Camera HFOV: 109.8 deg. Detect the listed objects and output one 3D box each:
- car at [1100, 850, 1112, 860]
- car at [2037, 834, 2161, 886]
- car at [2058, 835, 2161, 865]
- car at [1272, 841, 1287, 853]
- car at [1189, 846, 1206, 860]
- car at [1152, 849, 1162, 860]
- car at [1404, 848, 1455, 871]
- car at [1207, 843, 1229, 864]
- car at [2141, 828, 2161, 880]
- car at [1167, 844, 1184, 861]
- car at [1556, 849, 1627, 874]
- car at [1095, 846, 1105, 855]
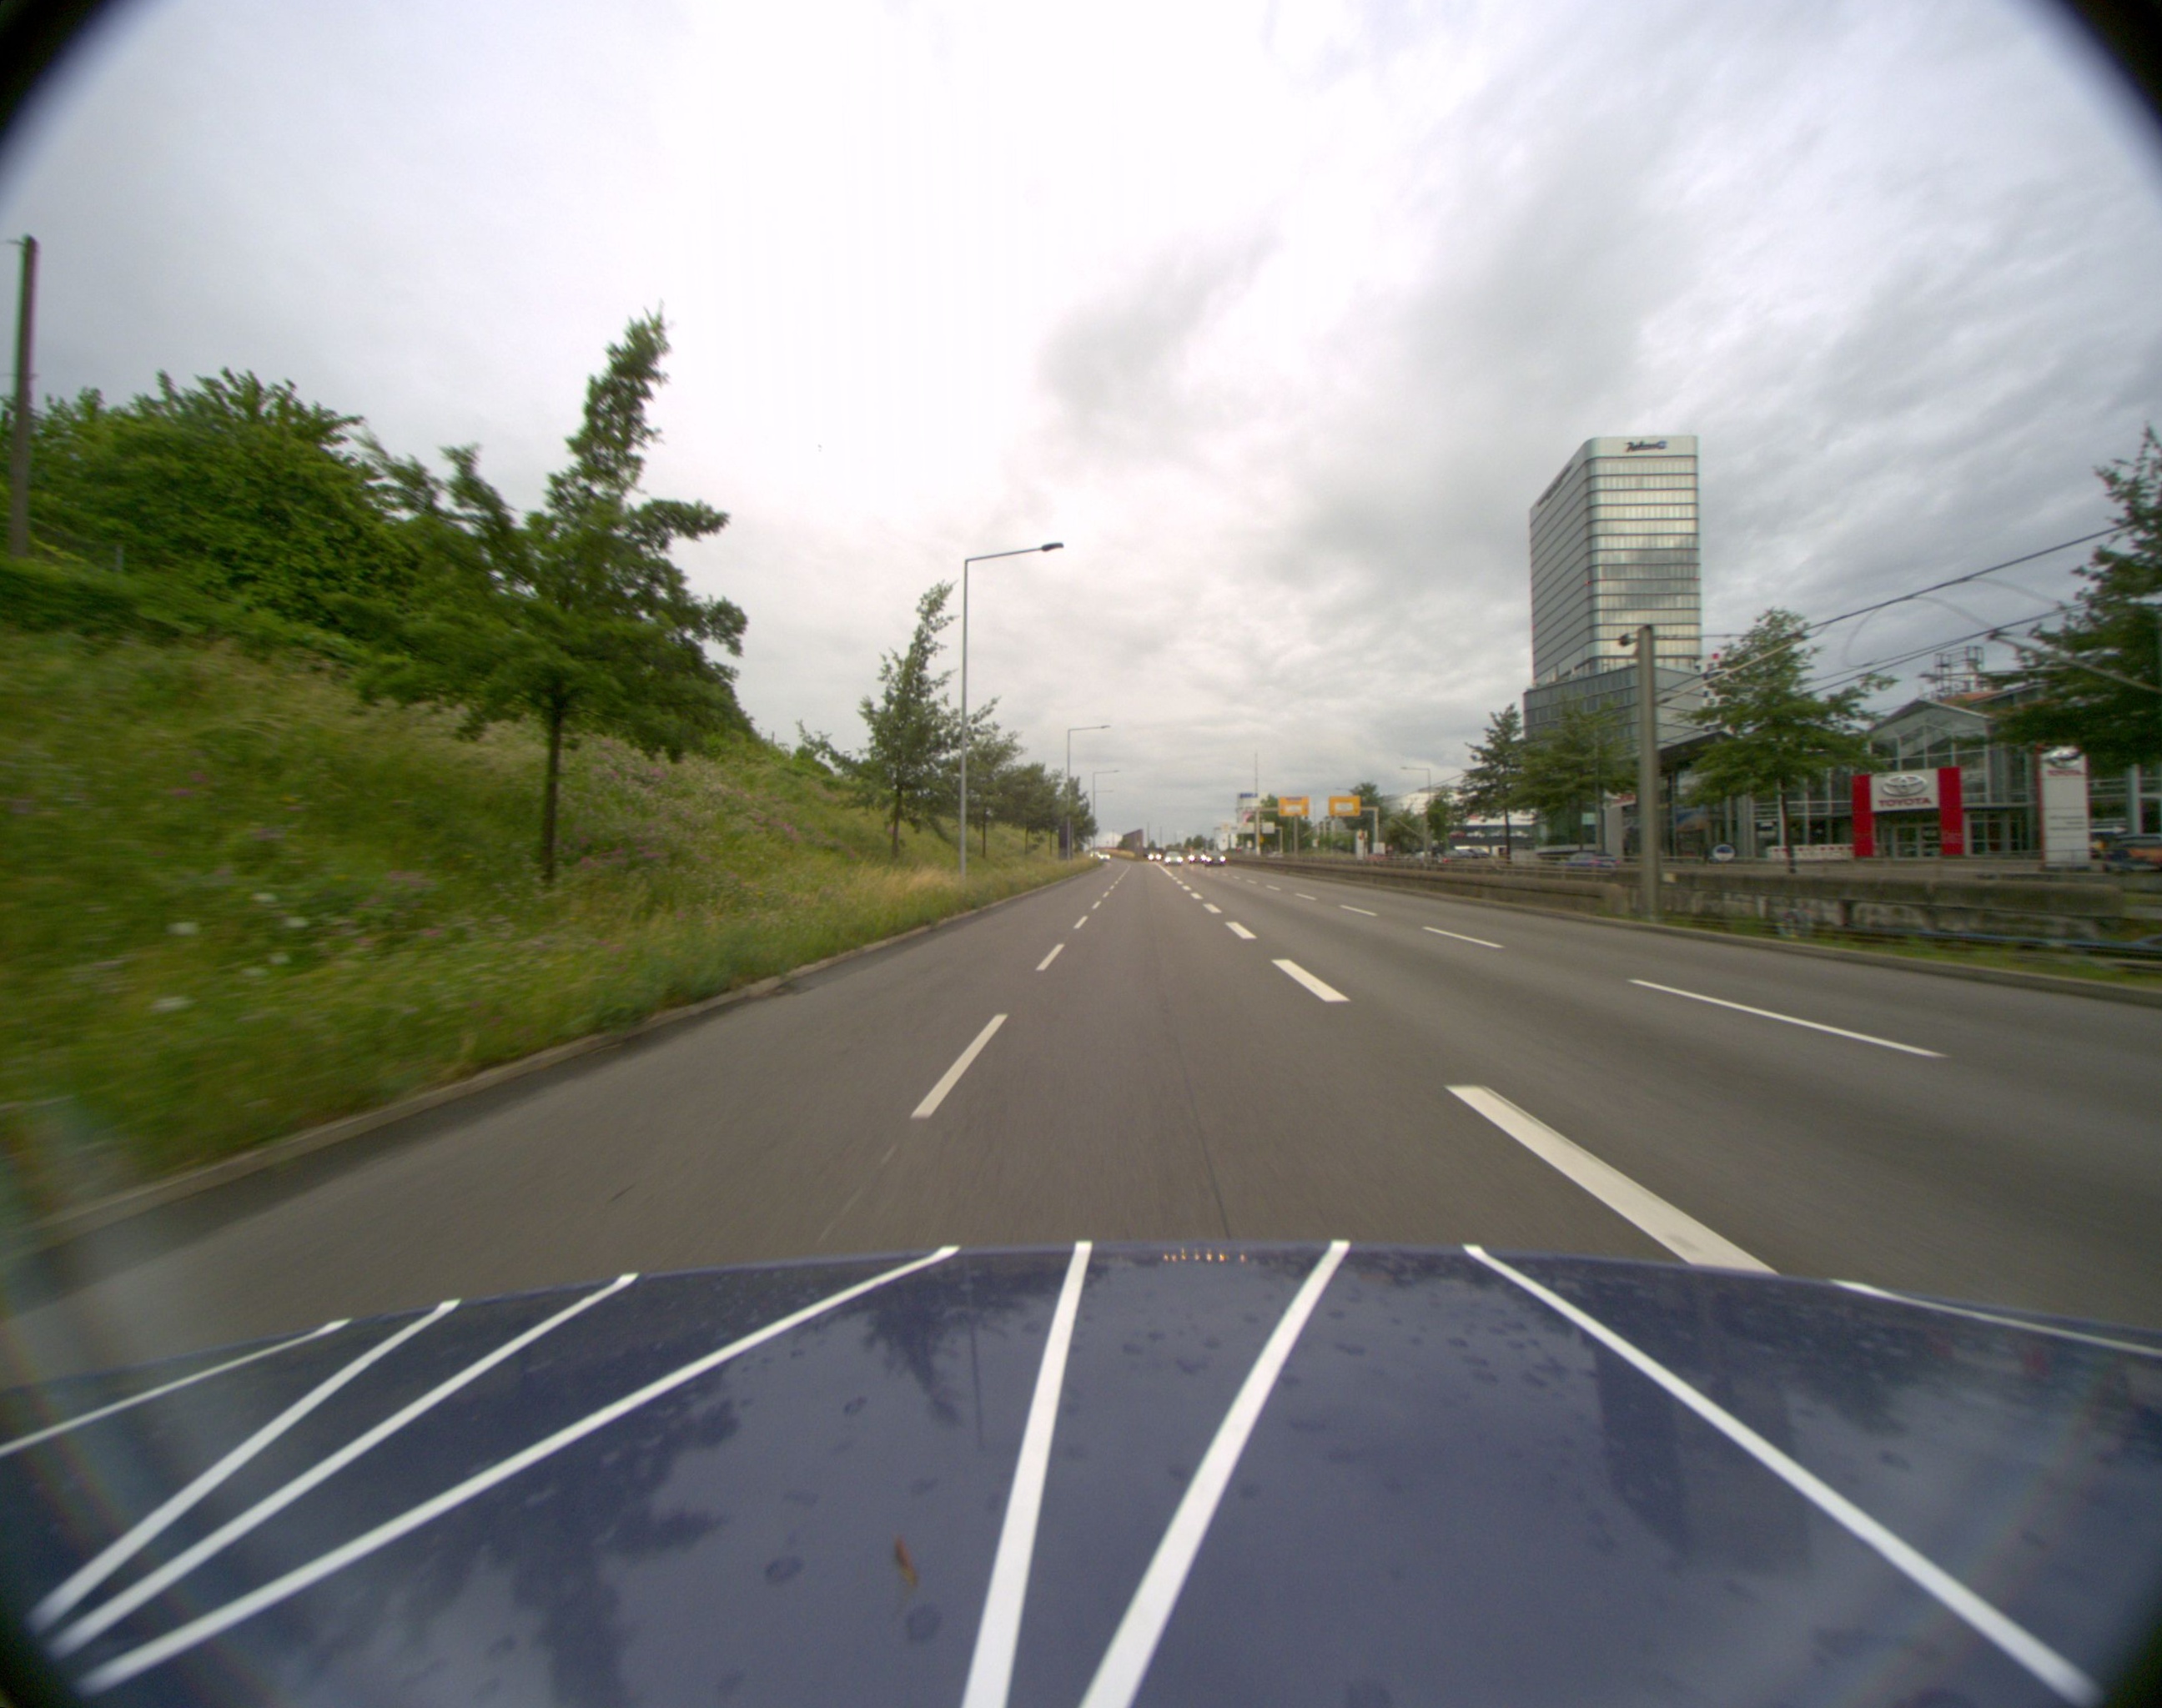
[{"bbox_3d":[4.400,0.228,133.108,1.793,1.621,4.379,-2,1,7],"label":"car"},{"bbox_3d":[42.503,0.225,31.033,4.223,1.936,1.865,-2,1,6],"label":"car"},{"bbox_3d":[53.944,-0.208,39.363,3.994,1.399,1.760,-2,1,8],"label":"car"},{"bbox_3d":[31.942,-1.198,122.247,1.793,1.858,4.379,-2,1,7],"label":"car"},{"bbox_3d":[14.066,-0.157,91.862,1.793,1.535,4.379,-2,1,7],"label":"car"},{"bbox_3d":[14.136,0.120,140.848,1.793,1.858,4.379,-2,1,7],"label":"car"},{"bbox_3d":[24.711,0.363,54.101,1.793,1.392,4.876,-2,1,6],"label":"car"},{"bbox_3d":[13.132,-0.074,72.803,1.793,1.858,4.379,-2,1,7],"label":"car"},{"bbox_3d":[42.718,-0.062,27.952,4.362,1.936,1.886,-2,1,6],"label":"car"},{"bbox_3d":[10.599,-0.195,84.928,1.793,1.858,4.379,-2,1,7],"label":"car"},{"bbox_3d":[29.913,0.415,44.653,1.770,1.302,4.113,-2,1,6],"label":"car"},{"bbox_3d":[3.837,-0.758,153.911,1.793,1.621,4.378,-2,1,4],"label":"car"}]
